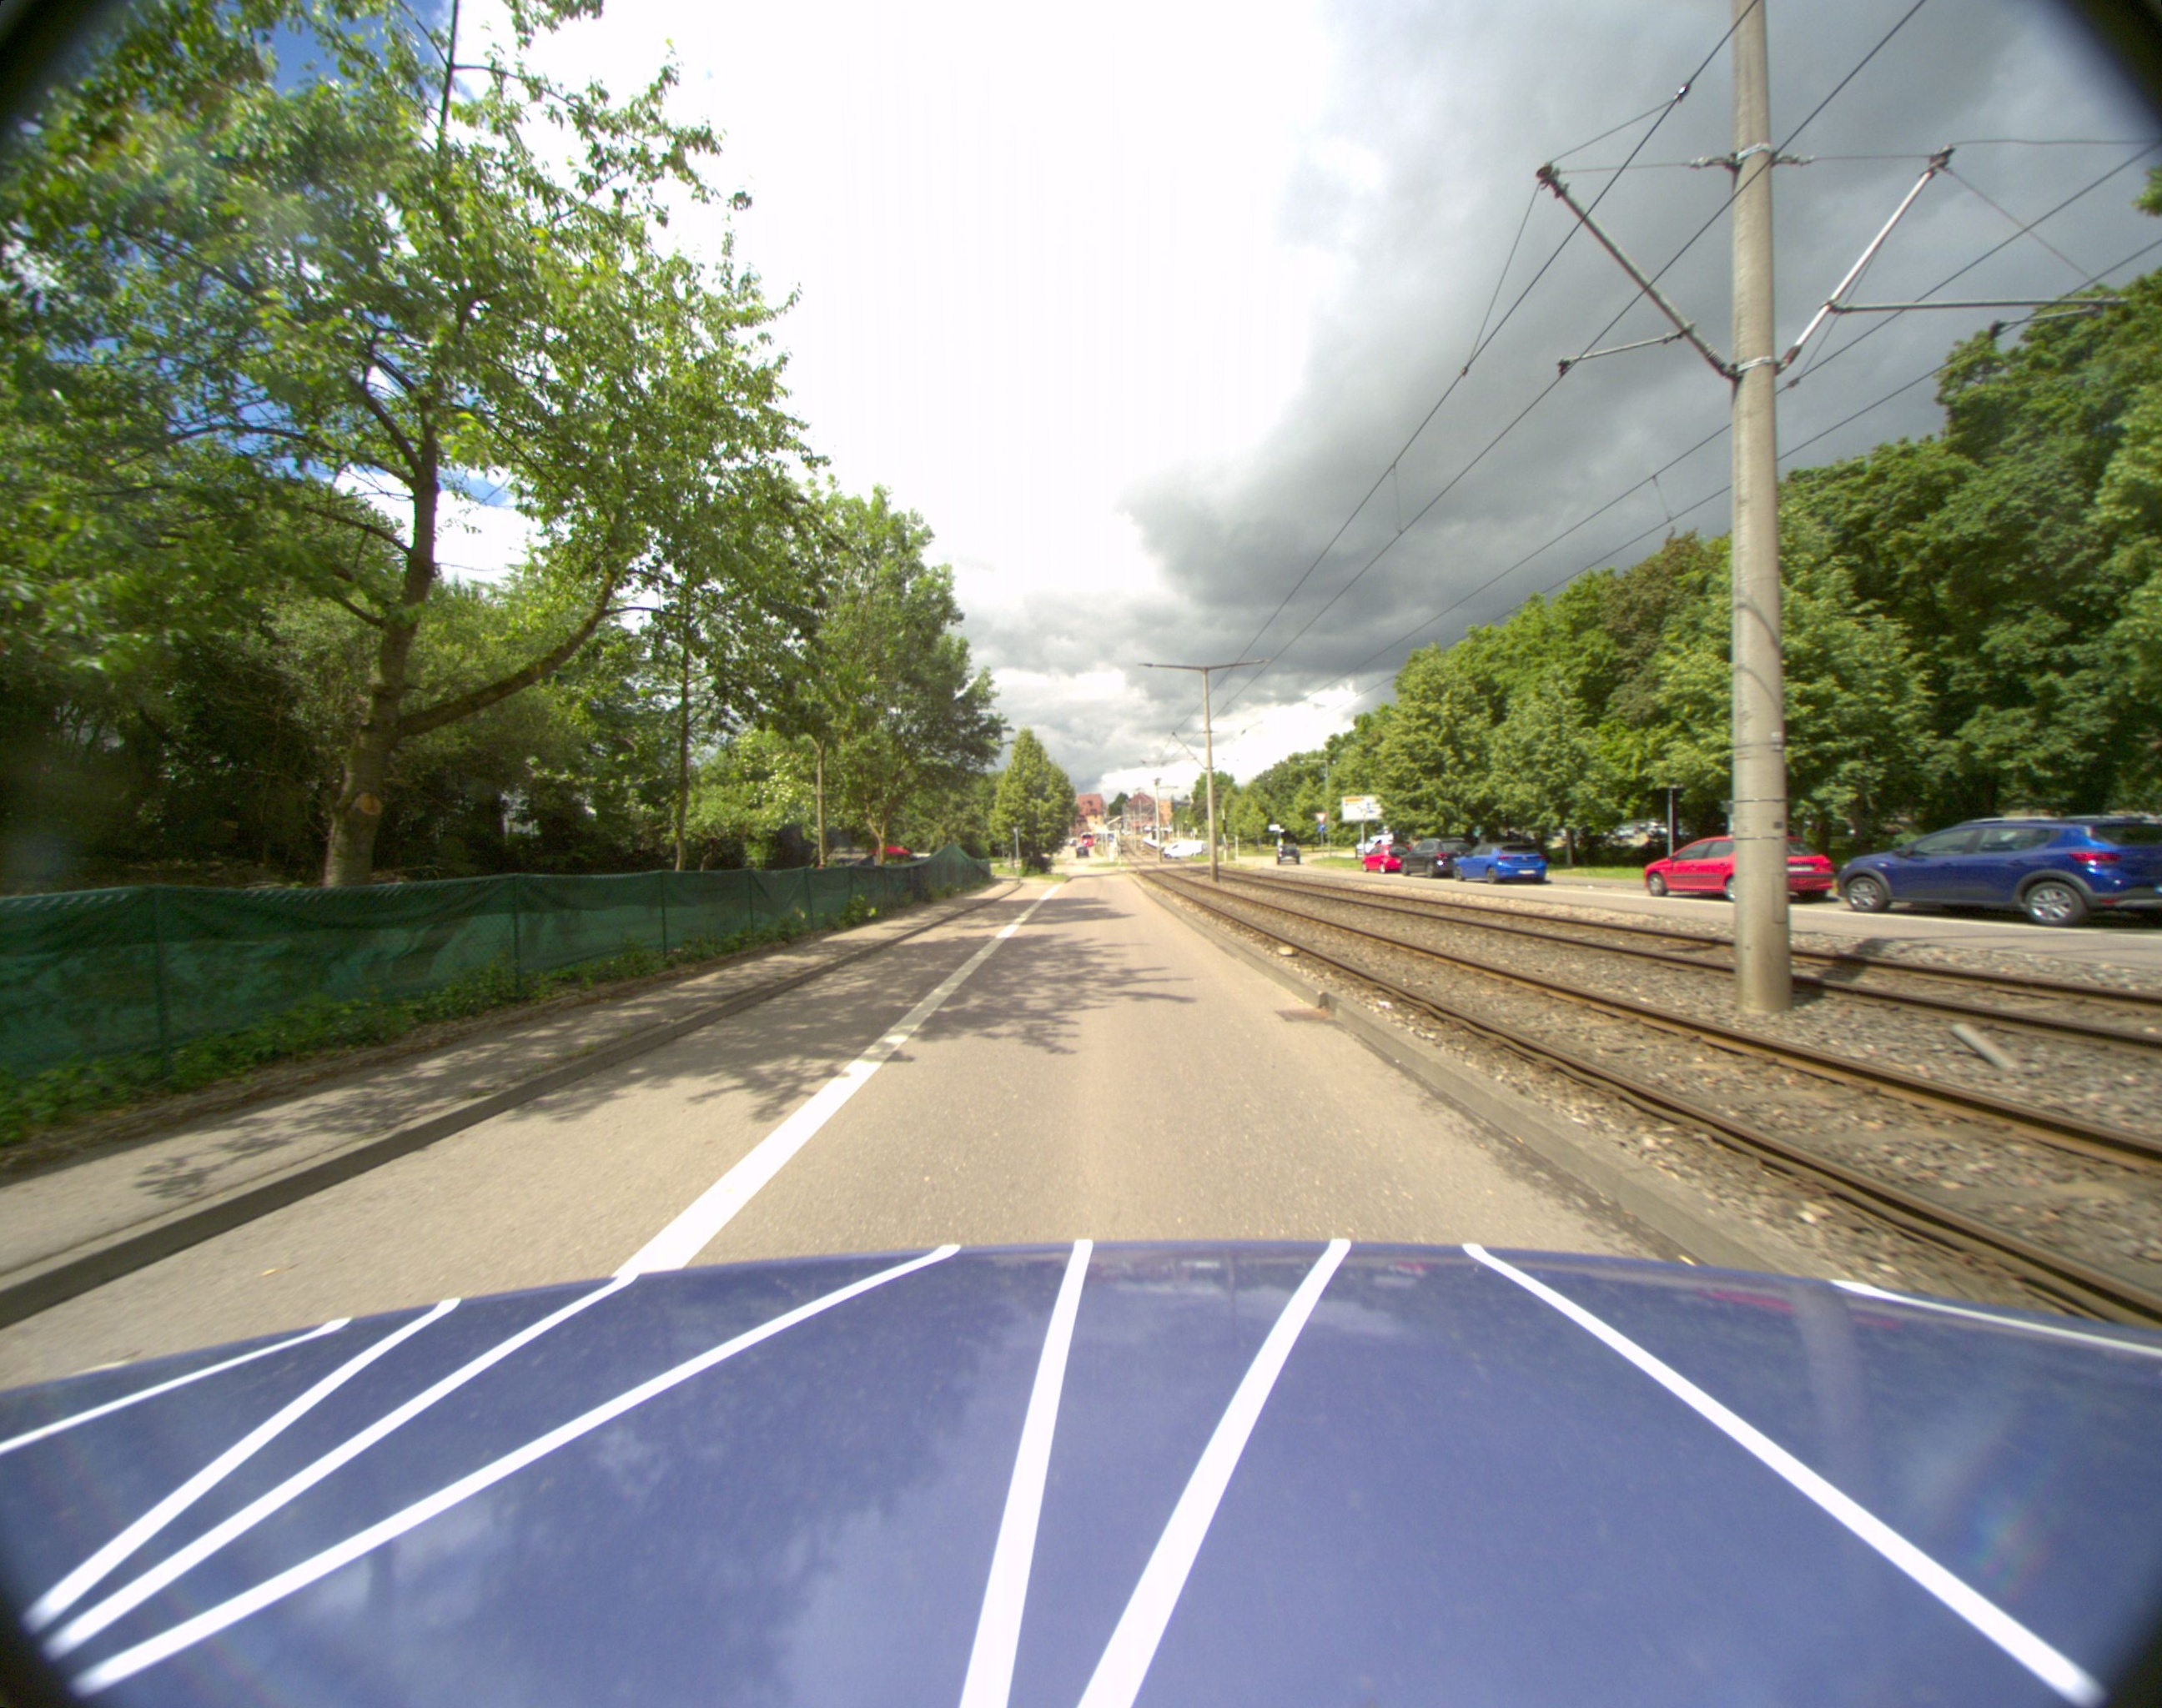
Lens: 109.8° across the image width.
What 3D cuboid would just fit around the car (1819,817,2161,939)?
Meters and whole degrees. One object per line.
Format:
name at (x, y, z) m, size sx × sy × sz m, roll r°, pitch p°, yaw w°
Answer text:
car at (14.351, 0.293, 11.955) m, size 1.561 × 1.586 × 4.160 m, roll -1°, pitch 0°, yaw 2°

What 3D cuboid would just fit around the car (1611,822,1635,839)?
car at (55.812, -2.441, 78.272) m, size 1.754 × 1.412 × 4.006 m, roll -3°, pitch 2°, yaw 33°

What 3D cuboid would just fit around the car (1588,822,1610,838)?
car at (54.069, -2.473, 79.404) m, size 1.754 × 1.412 × 4.006 m, roll -3°, pitch 2°, yaw 33°

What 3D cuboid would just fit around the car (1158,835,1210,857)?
car at (11.155, -0.878, 82.475) m, size 5.220 × 2.007 × 1.884 m, roll -2°, pitch 3°, yaw 39°

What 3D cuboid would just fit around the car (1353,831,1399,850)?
car at (30.720, -1.400, 79.106) m, size 4.354 × 1.680 × 1.739 m, roll -5°, pitch 2°, yaw -19°

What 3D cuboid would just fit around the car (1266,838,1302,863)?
car at (14.821, -0.299, 55.609) m, size 1.617 × 1.565 × 3.999 m, roll -4°, pitch 2°, yaw 2°

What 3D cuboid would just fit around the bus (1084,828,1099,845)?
bus at (2.624, -4.250, 181.852) m, size 2.923 × 3.864 × 10.378 m, roll -3°, pitch 1°, yaw 3°

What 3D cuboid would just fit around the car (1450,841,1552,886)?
car at (14.770, 0.285, 26.941) m, size 1.616 × 1.452 × 4.008 m, roll -1°, pitch 1°, yaw 4°

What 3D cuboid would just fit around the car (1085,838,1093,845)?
car at (1.841, -2.890, 171.685) m, size 1.738 × 1.501 × 3.514 m, roll -4°, pitch 2°, yaw 2°

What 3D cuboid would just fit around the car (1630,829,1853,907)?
car at (14.576, 0.284, 17.121) m, size 1.616 × 1.485 × 4.048 m, roll -3°, pitch 0°, yaw 3°

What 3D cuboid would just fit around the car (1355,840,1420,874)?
car at (15.299, 0.100, 38.098) m, size 1.617 × 1.443 × 3.660 m, roll -4°, pitch 2°, yaw -2°

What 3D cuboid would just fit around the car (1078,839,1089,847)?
car at (0.598, -2.190, 150.562) m, size 1.939 × 1.374 × 4.660 m, roll -4°, pitch 2°, yaw 2°

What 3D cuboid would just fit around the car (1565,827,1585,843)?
car at (52.667, -2.011, 81.040) m, size 1.754 × 1.412 × 4.006 m, roll -3°, pitch 2°, yaw 33°

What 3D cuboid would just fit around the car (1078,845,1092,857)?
car at (0.588, -0.483, 110.845) m, size 1.858 × 1.576 × 4.323 m, roll -2°, pitch 1°, yaw -3°

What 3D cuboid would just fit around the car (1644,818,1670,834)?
car at (58.333, -2.845, 77.036) m, size 1.754 × 1.412 × 4.006 m, roll -3°, pitch 2°, yaw 33°

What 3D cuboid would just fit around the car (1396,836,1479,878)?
car at (15.011, 0.102, 32.214) m, size 1.584 × 1.596 × 4.375 m, roll -1°, pitch 0°, yaw 2°
